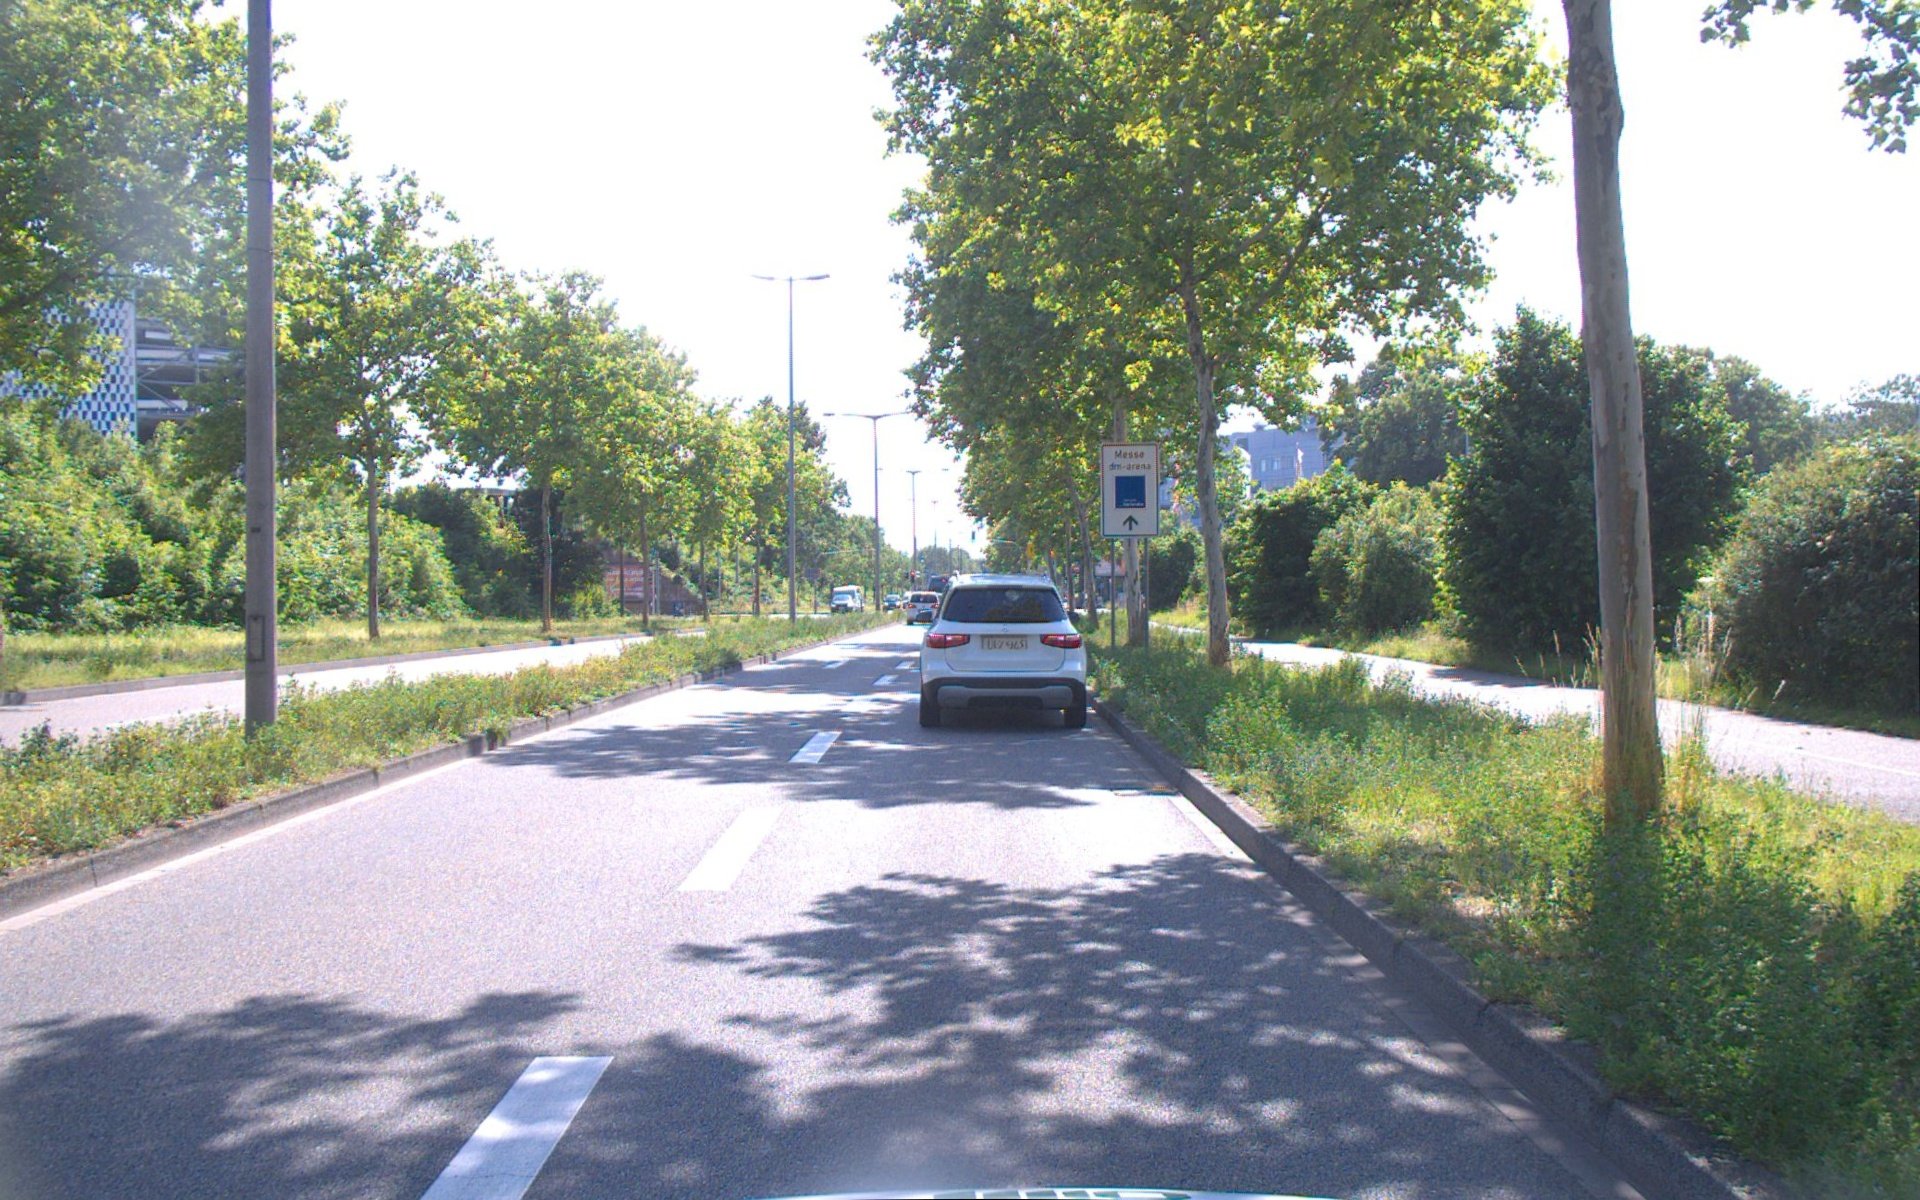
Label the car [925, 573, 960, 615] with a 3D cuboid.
[{"bbox_3d":[-1.149,-0.372,109.242,2.038,2.703,4.875,1,0,2],"label":"car"}]

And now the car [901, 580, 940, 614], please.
[{"bbox_3d":[-1.976,-0.131,83.875,1.734,1.676,4.353,0,0,2],"label":"car"}]

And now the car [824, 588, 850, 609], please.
[{"bbox_3d":[-9.861,-0.119,132.792,1.680,1.650,4.362,0,0,2],"label":"car"}]

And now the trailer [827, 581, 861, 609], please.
[{"bbox_3d":[-9.631,-0.410,137.741,2.261,2.305,5.539,0,0,2],"label":"trailer"}]

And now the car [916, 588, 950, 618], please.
[{"bbox_3d":[-1.499,0.167,92.984,1.734,1.676,4.085,0,0,2],"label":"car"}]

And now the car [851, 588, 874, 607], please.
[{"bbox_3d":[-9.517,-0.215,162.169,1.728,1.821,5.377,1,0,2],"label":"car"}]

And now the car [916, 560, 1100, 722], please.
[{"bbox_3d":[0.443,0.424,18.943,1.816,1.635,3.998,1,0,-2],"label":"car"}]
